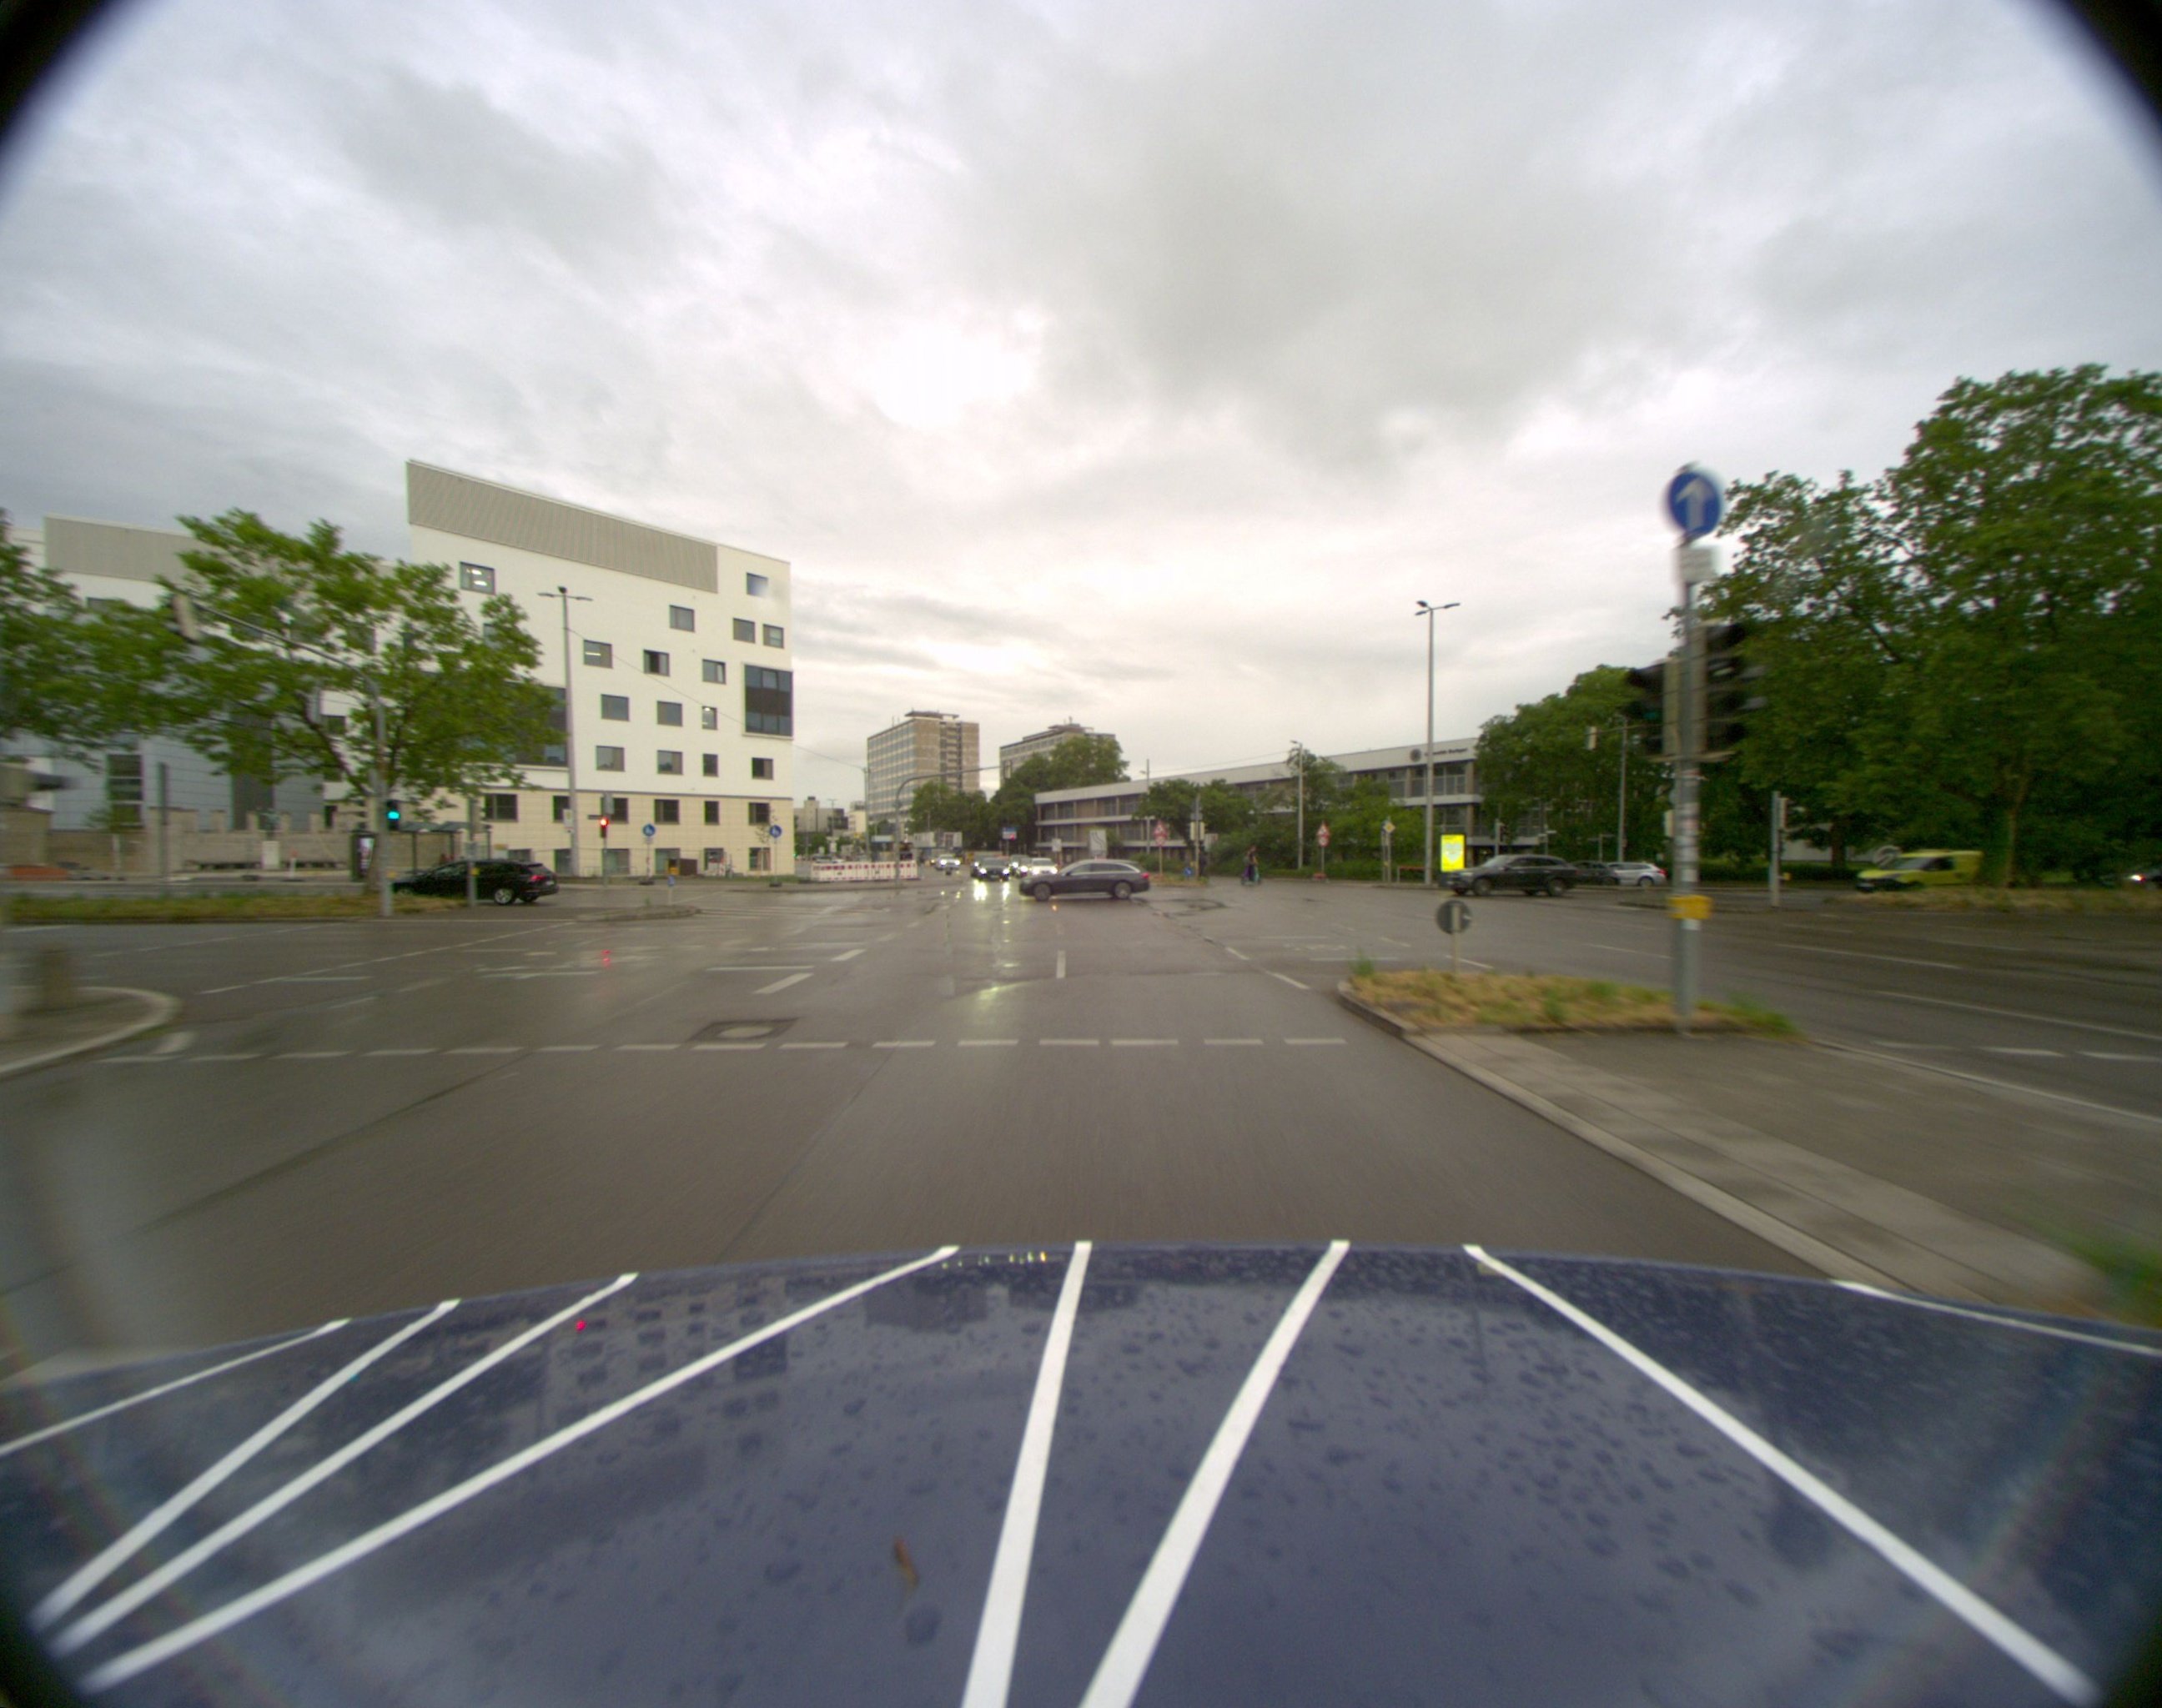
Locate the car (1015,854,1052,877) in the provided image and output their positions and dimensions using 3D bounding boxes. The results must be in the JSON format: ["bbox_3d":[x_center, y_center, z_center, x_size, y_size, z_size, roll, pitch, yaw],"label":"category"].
[{"bbox_3d":[-3.469,0.847,54.537,1.967,1.548,4.525,0,-1,-13],"label":"car"}]

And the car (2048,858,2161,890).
[{"bbox_3d":[48.722,0.926,35.649,1.872,1.441,3.988,0,0,-42],"label":"car"}]

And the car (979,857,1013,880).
[{"bbox_3d":[-5.458,0.929,48.330,1.798,1.435,3.997,0,-1,-12],"label":"car"}]

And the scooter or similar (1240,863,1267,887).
[{"bbox_3d":[9.374,1.130,41.356,1.314,1.231,0.592,-1,-1,-19],"label":"scooter or similar"}]

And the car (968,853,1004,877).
[{"bbox_3d":[-6.947,0.792,55.178,2.001,1.655,4.381,0,0,-16],"label":"car"}]

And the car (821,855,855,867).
[{"bbox_3d":[-33.275,0.956,104.139,4.057,1.548,1.969,0,-1,9],"label":"car"}]

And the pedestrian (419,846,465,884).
[{"bbox_3d":[-29.770,0.512,35.409,1.015,1.709,1.262,-1,-1,1],"label":"pedestrian"}]

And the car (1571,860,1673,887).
[{"bbox_3d":[30.321,1.065,42.741,4.393,1.441,1.871,0,0,24],"label":"car"}]

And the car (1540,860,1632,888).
[{"bbox_3d":[26.988,1.038,40.783,3.989,1.441,1.872,0,0,29],"label":"car"}]

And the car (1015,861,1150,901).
[{"bbox_3d":[0.002,0.983,28.800,4.929,1.437,1.884,0,0,-6],"label":"car"}]

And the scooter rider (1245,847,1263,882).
[{"bbox_3d":[9.398,0.586,41.350,0.632,1.872,0.725,-1,-1,-17],"label":"scooter rider"}]

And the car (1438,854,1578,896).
[{"bbox_3d":[16.961,0.828,30.347,4.573,1.598,1.835,0,-1,1],"label":"car"}]

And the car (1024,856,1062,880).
[{"bbox_3d":[-2.469,0.903,48.123,1.798,1.435,3.997,0,-1,-12],"label":"car"}]

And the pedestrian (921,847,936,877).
[{"bbox_3d":[-9.591,0.520,47.861,0.824,1.829,0.953,-1,-1,-8],"label":"pedestrian"}]

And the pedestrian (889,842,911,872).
[{"bbox_3d":[-11.743,0.218,49.331,0.952,1.924,1.006,-1,-1,12],"label":"pedestrian"}]

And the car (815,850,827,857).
[{"bbox_3d":[-60.822,-0.087,177.649,1.801,1.696,4.677,0,0,-29],"label":"car"}]

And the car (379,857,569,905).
[{"bbox_3d":[-19.534,0.871,24.669,4.515,1.457,1.673,1,0,-14],"label":"car"}]

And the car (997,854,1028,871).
[{"bbox_3d":[-6.145,0.775,68.087,1.968,1.441,4.153,0,0,-17],"label":"car"}]

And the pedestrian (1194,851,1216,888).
[{"bbox_3d":[6.508,0.810,39.953,0.830,1.880,1.027,-1,-1,-9],"label":"pedestrian"}]

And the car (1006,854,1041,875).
[{"bbox_3d":[-4.650,0.847,61.113,1.968,1.528,4.152,0,1,-17],"label":"car"}]

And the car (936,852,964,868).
[{"bbox_3d":[-14.231,0.716,82.319,1.969,1.690,4.151,0,-1,-25],"label":"car"}]

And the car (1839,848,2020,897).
[{"bbox_3d":[33.216,0.741,29.857,4.736,1.865,1.887,0,-1,4],"label":"car"}]
